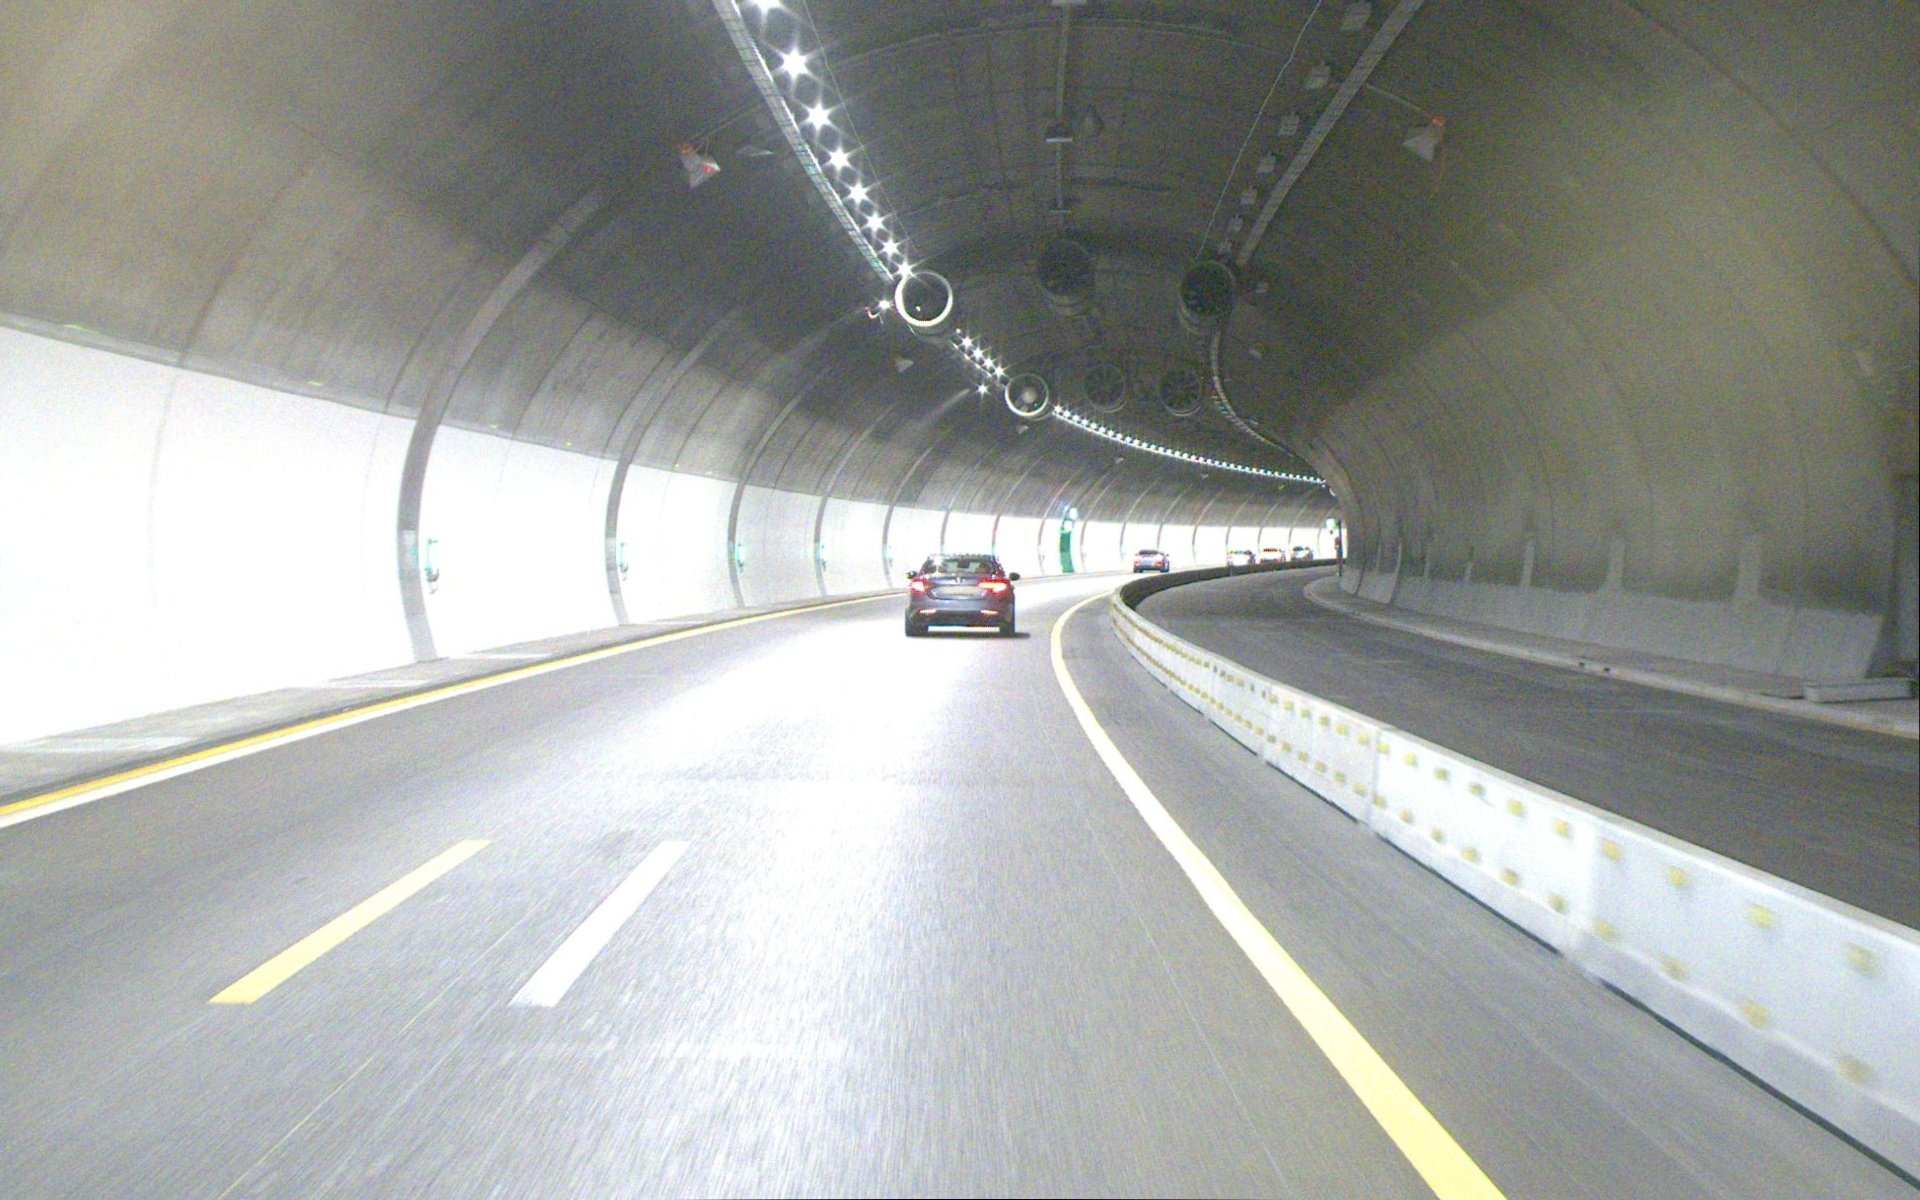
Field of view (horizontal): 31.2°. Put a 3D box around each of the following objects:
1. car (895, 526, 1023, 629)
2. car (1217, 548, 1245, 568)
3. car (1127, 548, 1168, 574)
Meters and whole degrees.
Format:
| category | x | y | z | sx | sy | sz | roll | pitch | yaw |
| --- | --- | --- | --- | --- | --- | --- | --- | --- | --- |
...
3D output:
| category | x | y | z | sx | sy | sz | roll | pitch | yaw |
| --- | --- | --- | --- | --- | --- | --- | --- | --- | --- |
| car | 0.012 | -0.419 | 59.685 | 2.141 | 1.700 | 4.000 | 1 | 1 | 1 |
| car | 18.403 | -2.848 | 233.778 | 1.595 | 1.328 | 3.749 | 1 | 1 | 9 |
| car | 11.231 | -2.353 | 206.134 | 2.165 | 1.481 | 3.999 | 1 | 1 | 7 |
